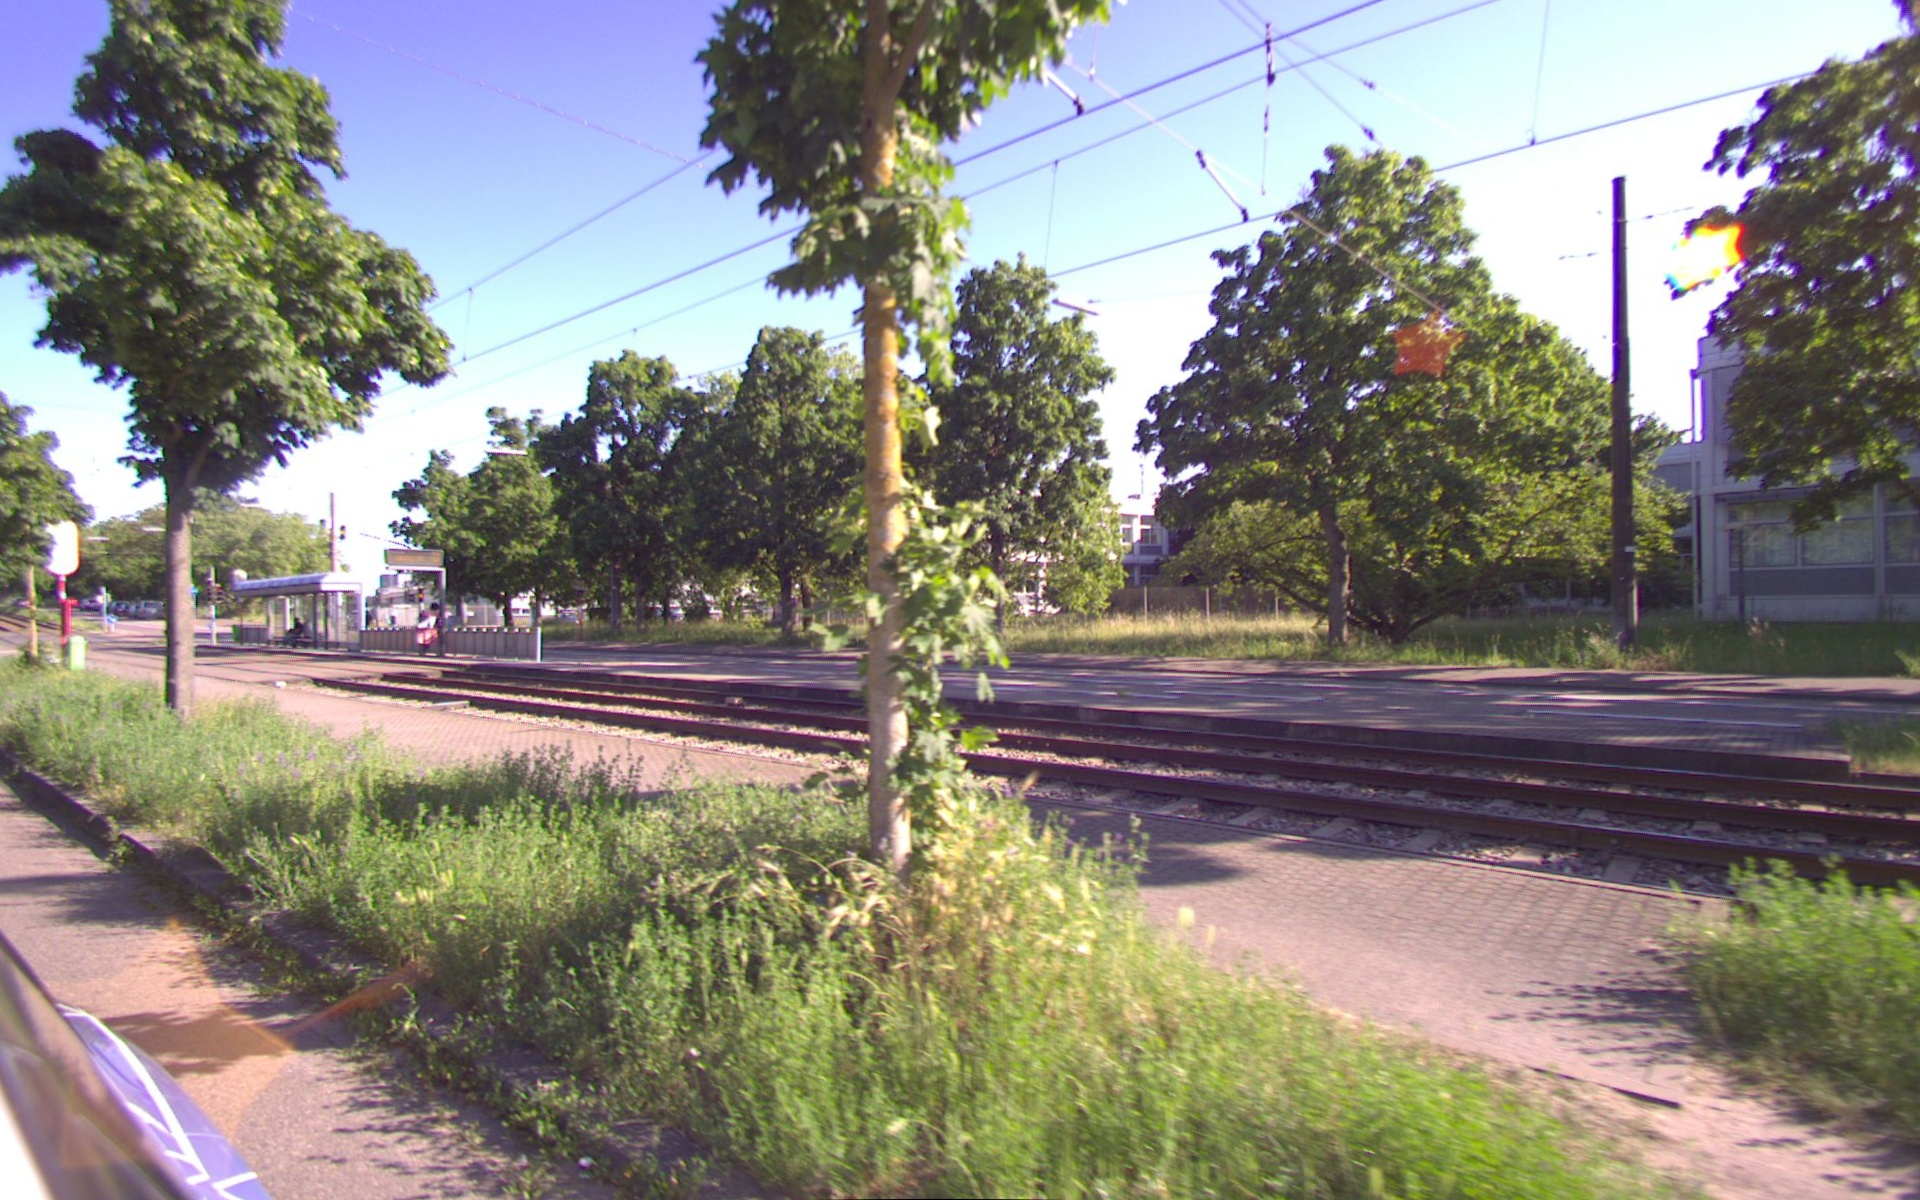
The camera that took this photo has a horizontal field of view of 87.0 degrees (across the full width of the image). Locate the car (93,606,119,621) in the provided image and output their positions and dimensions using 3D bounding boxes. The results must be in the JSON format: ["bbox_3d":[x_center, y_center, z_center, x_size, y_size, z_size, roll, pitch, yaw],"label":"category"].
[{"bbox_3d":[-95.559,1.494,113.225,3.453,1.597,1.680,-1,-2,40],"label":"car"}]

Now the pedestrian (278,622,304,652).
[{"bbox_3d":[-27.899,1.553,42.226,0.679,1.258,0.643,-1,-3,32],"label":"pedestrian"}]

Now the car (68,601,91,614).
[{"bbox_3d":[-111.513,0.946,128.158,3.453,1.597,1.680,-1,-2,40],"label":"car"}]

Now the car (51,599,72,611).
[{"bbox_3d":[-125.420,0.680,141.186,3.453,1.597,1.680,-1,-2,40],"label":"car"}]

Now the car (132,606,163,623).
[{"bbox_3d":[-81.422,1.456,101.375,3.453,1.597,1.749,-1,-2,40],"label":"car"}]

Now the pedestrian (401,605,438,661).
[{"bbox_3d":[-17.176,1.040,32.174,0.781,1.765,0.776,-1,-1,40],"label":"pedestrian"}]

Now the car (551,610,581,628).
[{"bbox_3d":[-39.071,1.917,100.355,1.967,1.719,4.010,-1,0,-34],"label":"car"}]

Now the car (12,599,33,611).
[{"bbox_3d":[-129.069,0.719,139.317,3.453,1.597,1.680,-1,-2,40],"label":"car"}]
